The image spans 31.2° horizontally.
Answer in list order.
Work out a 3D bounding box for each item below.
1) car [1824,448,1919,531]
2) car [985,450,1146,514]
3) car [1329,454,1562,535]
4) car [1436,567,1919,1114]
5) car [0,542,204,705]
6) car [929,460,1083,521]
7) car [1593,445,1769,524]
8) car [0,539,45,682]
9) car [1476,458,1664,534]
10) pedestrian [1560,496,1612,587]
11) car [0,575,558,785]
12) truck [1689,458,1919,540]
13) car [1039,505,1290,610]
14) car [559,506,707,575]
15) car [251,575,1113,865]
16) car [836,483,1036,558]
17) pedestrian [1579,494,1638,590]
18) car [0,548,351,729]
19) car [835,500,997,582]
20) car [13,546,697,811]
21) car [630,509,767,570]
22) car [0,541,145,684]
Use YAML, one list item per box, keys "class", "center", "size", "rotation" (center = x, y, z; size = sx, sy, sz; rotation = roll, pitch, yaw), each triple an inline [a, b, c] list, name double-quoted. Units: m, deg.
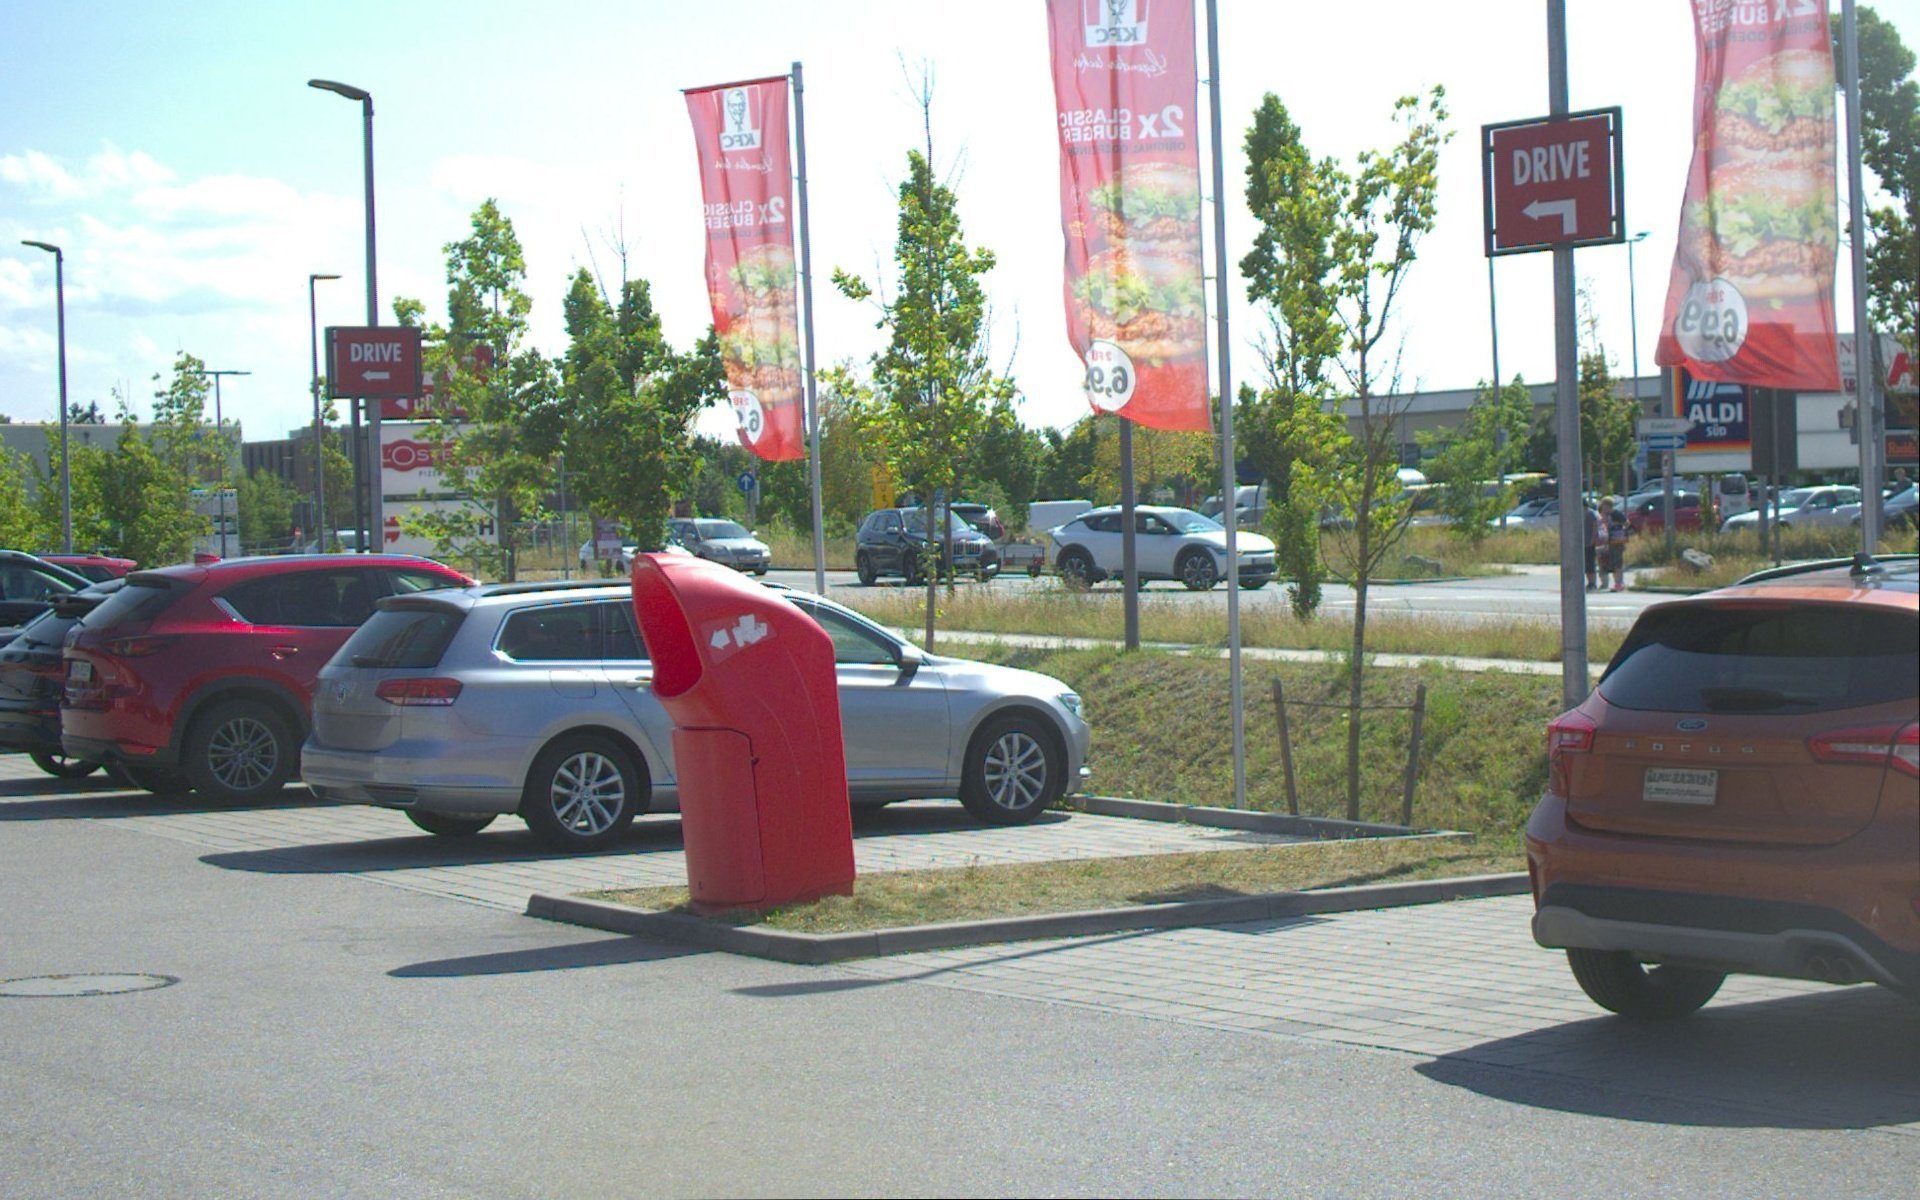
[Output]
- class: "car"
  center: [22.261, -2.547, 78.378]
  size: [4.716, 1.839, 2.001]
  rotation: [-2, 2, -23]
- class: "car"
  center: [3.514, -3.909, 113.678]
  size: [5.060, 2.006, 2.000]
  rotation: [-2, 2, -33]
- class: "car"
  center: [14.146, -3.079, 100.056]
  size: [6.291, 2.229, 2.817]
  rotation: [-2, 2, -30]
- class: "car"
  center: [3.800, 0.622, 11.289]
  size: [4.340, 1.464, 1.833]
  rotation: [-1, 1, -35]
- class: "car"
  center: [-10.583, 0.255, 37.140]
  size: [4.318, 1.697, 1.896]
  rotation: [-1, 1, -31]
- class: "car"
  center: [1.602, -3.773, 118.732]
  size: [5.060, 2.006, 2.000]
  rotation: [-2, 2, -33]
- class: "car"
  center: [19.004, -3.047, 90.687]
  size: [4.076, 2.006, 2.001]
  rotation: [-2, 2, -20]
- class: "car"
  center: [-13.757, 0.154, 42.208]
  size: [4.574, 1.754, 1.896]
  rotation: [-1, 1, -26]
- class: "car"
  center: [16.962, -2.899, 95.539]
  size: [5.163, 2.006, 2.000]
  rotation: [-2, 2, -33]
- class: "pedestrian"
  center: [10.768, -1.010, 59.177]
  size: [0.623, 1.550, 0.667]
  rotation: [-2, 2, -17]
- class: "car"
  center: [-5.337, 0.547, 25.984]
  size: [4.193, 1.405, 1.773]
  rotation: [-1, 1, -33]
- class: "truck"
  center: [20.507, -2.461, 83.210]
  size: [5.414, 1.857, 2.001]
  rotation: [-2, 2, -23]
- class: "car"
  center: [3.783, -0.806, 64.006]
  size: [4.404, 1.839, 1.995]
  rotation: [1, 3, 44]
- class: "car"
  center: [-7.719, -1.418, 80.759]
  size: [1.993, 1.521, 4.658]
  rotation: [-2, 2, -25]
- class: "car"
  center: [-1.532, 0.604, 19.610]
  size: [4.586, 1.408, 1.740]
  rotation: [-1, 1, -31]
- class: "car"
  center: [-0.620, -1.915, 82.919]
  size: [1.983, 1.725, 5.222]
  rotation: [-3, 2, -39]
- class: "pedestrian"
  center: [10.987, -0.993, 58.272]
  size: [0.690, 1.594, 0.757]
  rotation: [-2, 2, -17]
- class: "car"
  center: [-8.276, 0.343, 32.999]
  size: [4.435, 1.632, 1.896]
  rotation: [-1, 1, -24]
- class: "car"
  center: [-0.995, -1.294, 74.035]
  size: [1.872, 1.658, 4.604]
  rotation: [-2, 2, -23]
- class: "car"
  center: [-4.154, 0.474, 23.744]
  size: [4.217, 1.632, 1.951]
  rotation: [-1, 1, -31]
- class: "car"
  center: [-6.726, -1.570, 88.072]
  size: [1.993, 1.499, 4.658]
  rotation: [-2, 2, -24]
- class: "car"
  center: [-11.762, 0.147, 40.032]
  size: [4.068, 1.603, 1.896]
  rotation: [-1, 2, -27]
